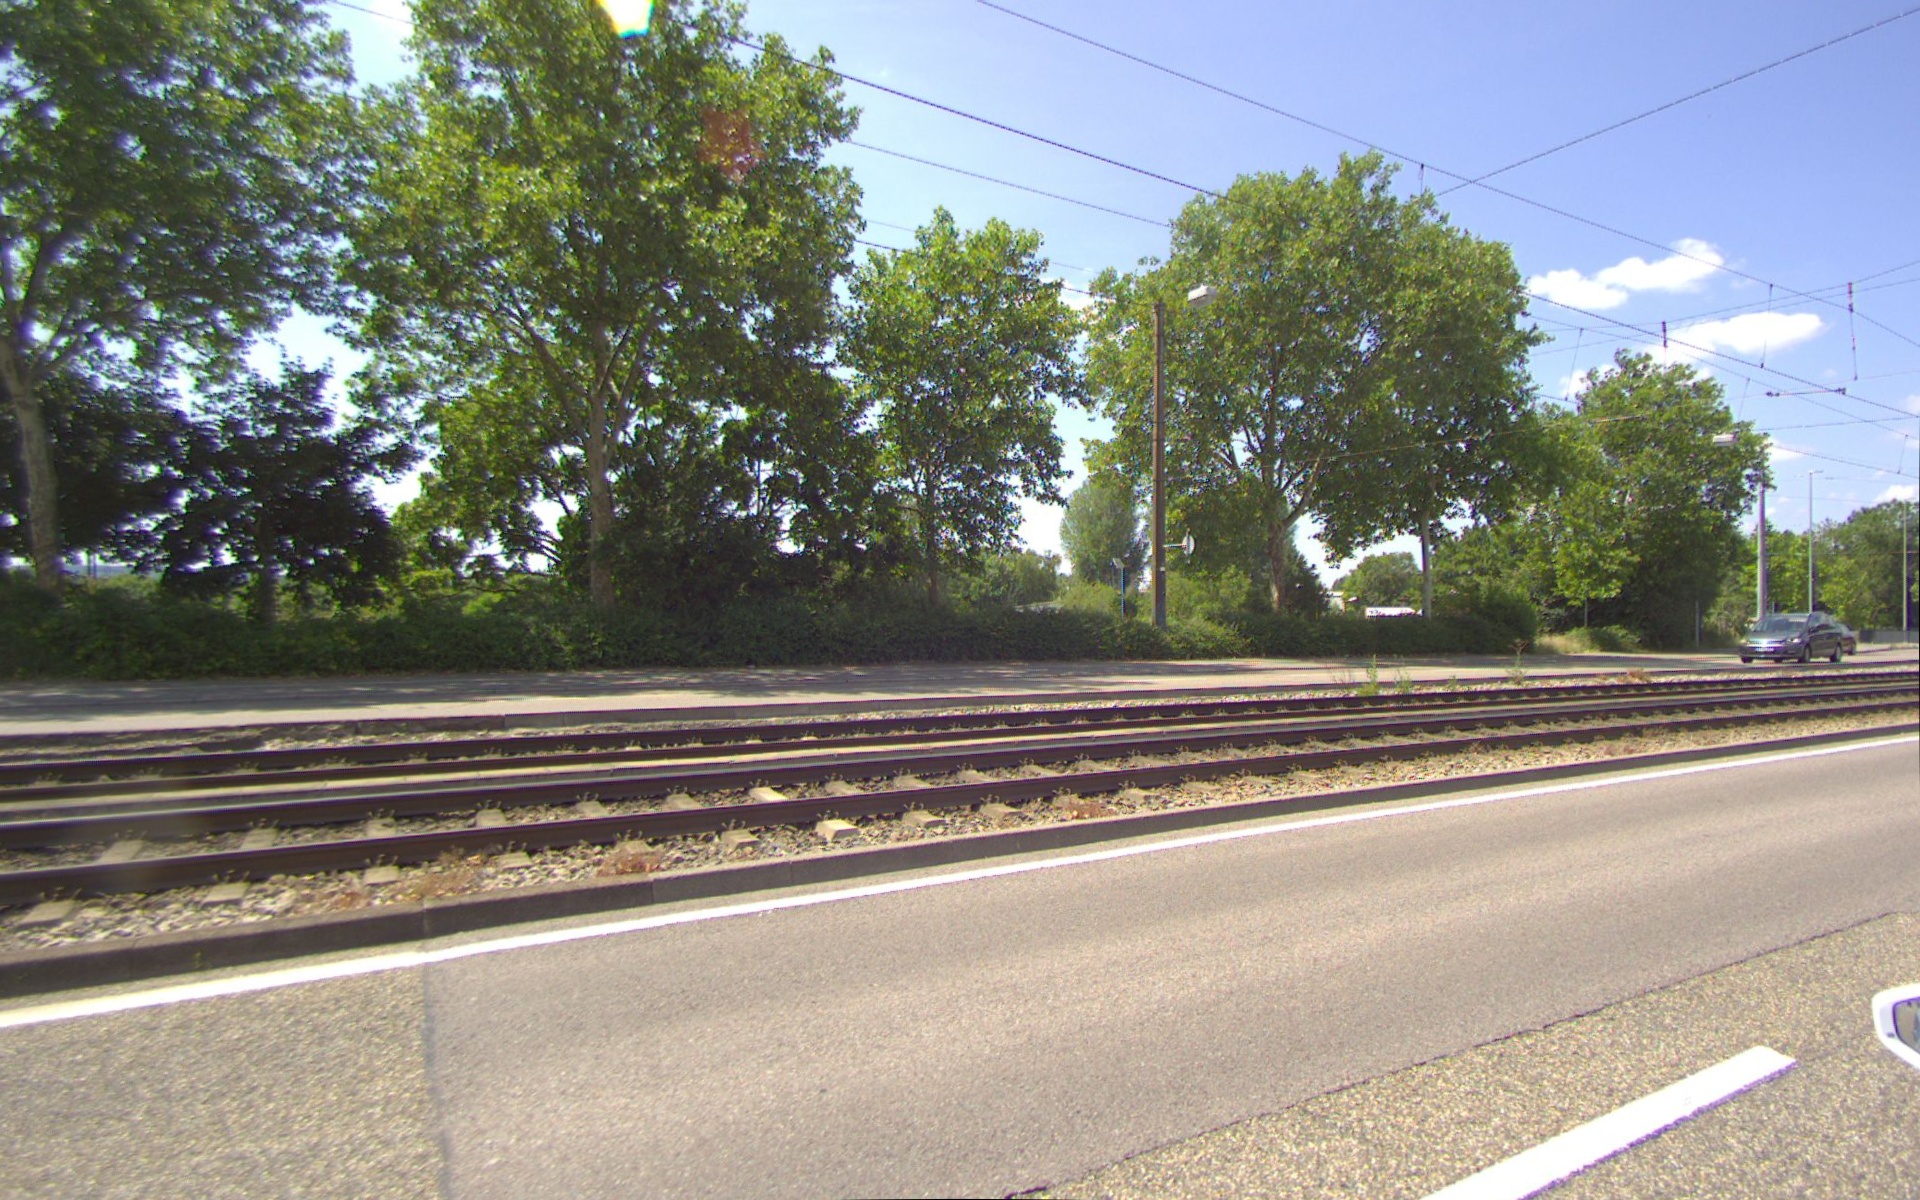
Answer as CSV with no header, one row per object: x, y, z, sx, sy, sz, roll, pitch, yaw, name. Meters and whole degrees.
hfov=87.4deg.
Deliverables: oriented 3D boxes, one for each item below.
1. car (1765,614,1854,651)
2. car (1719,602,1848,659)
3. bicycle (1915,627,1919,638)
40.189,1.533,47.496,4.419,1.692,1.983,1,-2,-32,car
28.534,1.059,34.781,4.914,1.854,1.983,1,-2,-32,car
85.619,2.907,88.882,0.481,1.000,1.481,1,1,-33,bicycle
